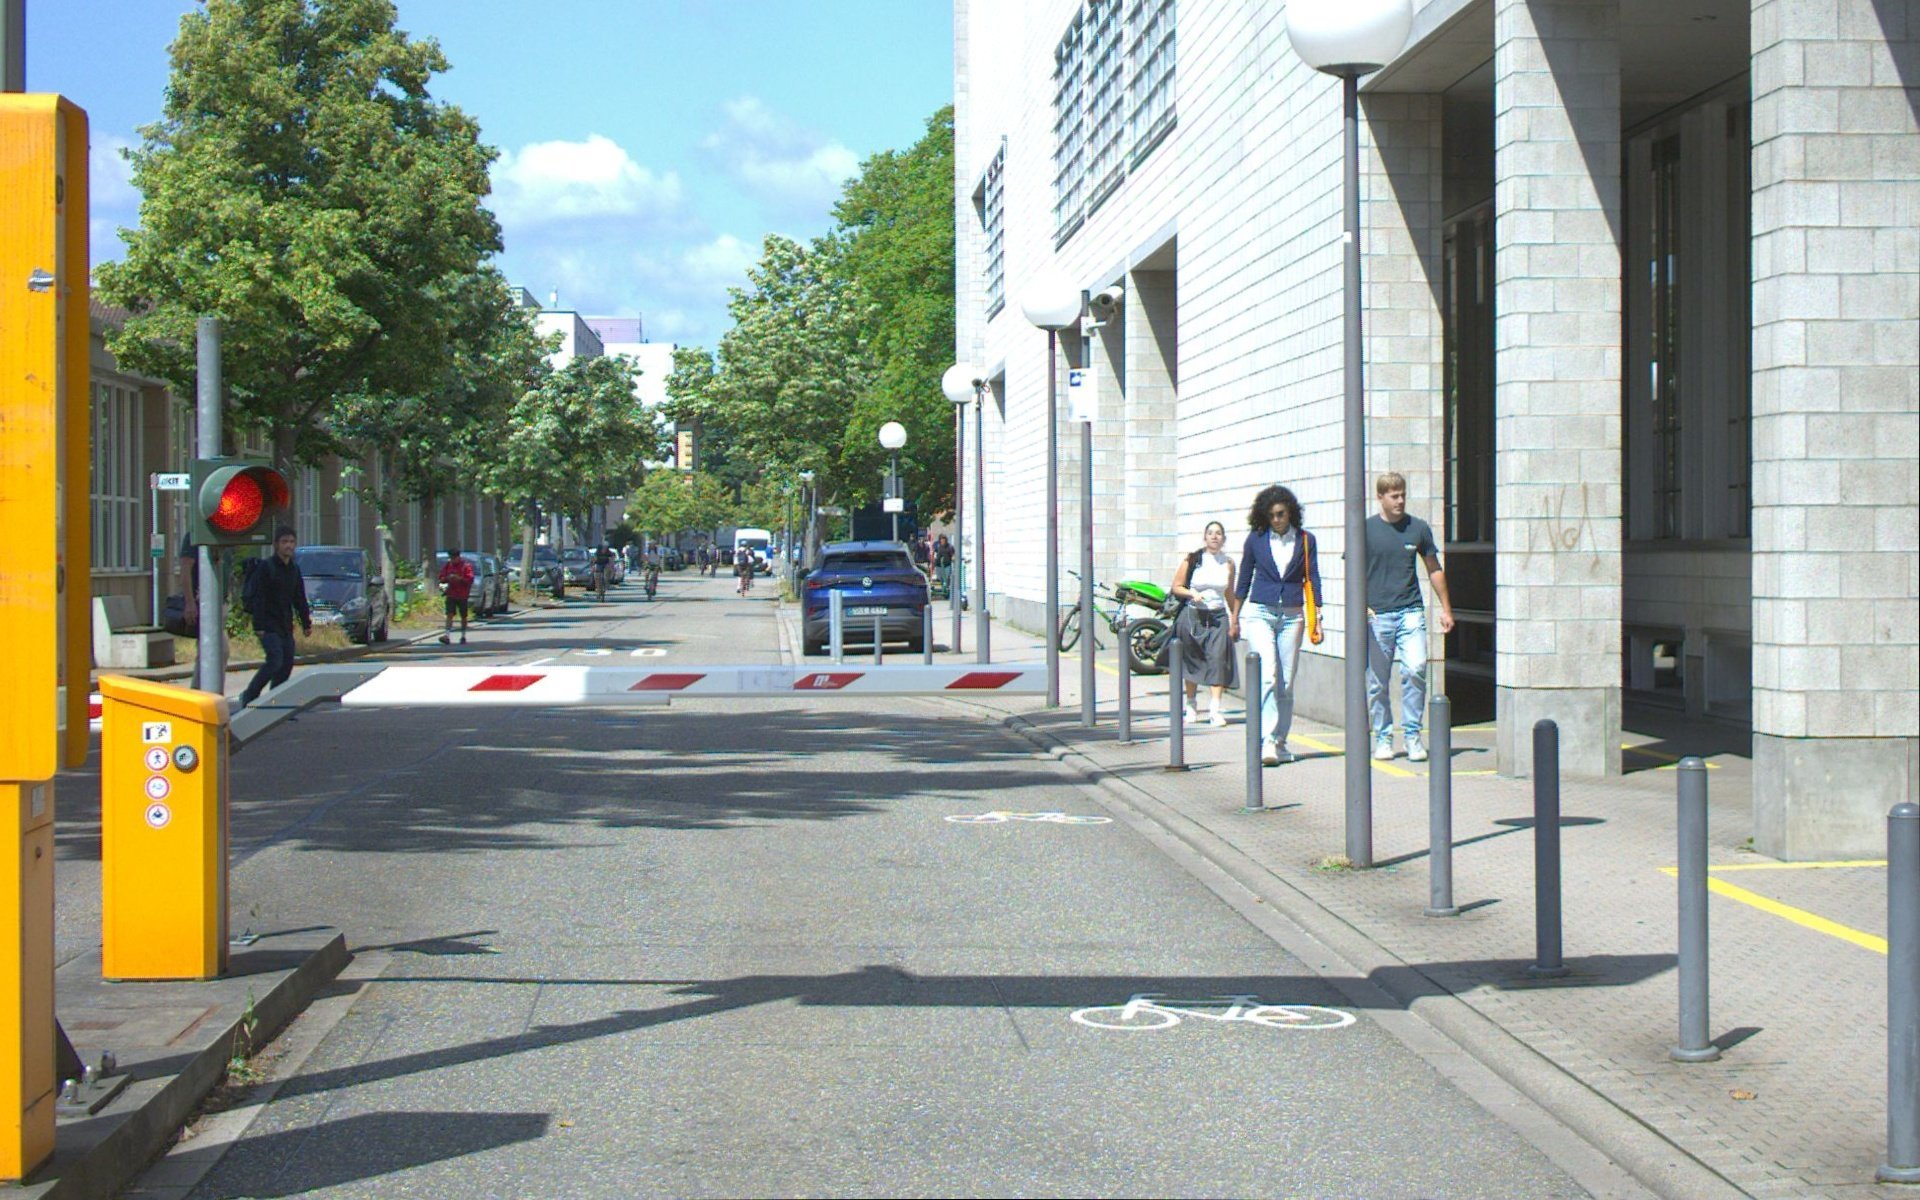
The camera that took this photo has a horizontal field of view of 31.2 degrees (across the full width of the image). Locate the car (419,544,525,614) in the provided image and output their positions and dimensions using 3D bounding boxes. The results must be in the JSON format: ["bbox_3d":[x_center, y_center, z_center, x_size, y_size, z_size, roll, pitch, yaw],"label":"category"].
[{"bbox_3d":[-11.084,-0.491,78.318,1.993,1.540,4.212,0,1,-3],"label":"car"}]

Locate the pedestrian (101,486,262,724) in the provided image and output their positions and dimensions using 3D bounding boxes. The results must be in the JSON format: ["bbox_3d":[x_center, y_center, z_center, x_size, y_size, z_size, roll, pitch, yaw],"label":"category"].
[{"bbox_3d":[-6.410,0.037,28.301,1.003,1.919,0.887,0,0,-37],"label":"pedestrian"}]

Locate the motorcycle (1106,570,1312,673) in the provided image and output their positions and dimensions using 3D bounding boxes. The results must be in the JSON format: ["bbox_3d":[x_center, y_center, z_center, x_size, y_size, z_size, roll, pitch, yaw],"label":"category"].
[{"bbox_3d":[2.672,0.237,37.024,2.122,1.019,0.660,-2,-1,-2],"label":"motorcycle"}]

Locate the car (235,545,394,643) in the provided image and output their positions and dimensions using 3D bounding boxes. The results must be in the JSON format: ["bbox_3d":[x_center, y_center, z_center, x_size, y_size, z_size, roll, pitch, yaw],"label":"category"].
[{"bbox_3d":[-10.539,-0.132,56.412,1.993,1.540,4.212,0,1,-3],"label":"car"}]

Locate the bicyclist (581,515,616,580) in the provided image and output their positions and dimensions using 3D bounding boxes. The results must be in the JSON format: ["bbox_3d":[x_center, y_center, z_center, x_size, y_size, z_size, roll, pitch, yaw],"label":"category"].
[{"bbox_3d":[-10.653,-1.553,101.360,0.987,1.877,1.036,0,-1,-8],"label":"bicyclist"}]

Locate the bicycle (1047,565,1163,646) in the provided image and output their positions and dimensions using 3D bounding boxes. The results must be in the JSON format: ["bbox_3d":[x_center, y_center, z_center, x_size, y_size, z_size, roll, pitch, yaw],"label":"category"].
[{"bbox_3d":[1.970,0.069,46.652,1.544,1.063,0.647,-1,1,5],"label":"bicycle"}]

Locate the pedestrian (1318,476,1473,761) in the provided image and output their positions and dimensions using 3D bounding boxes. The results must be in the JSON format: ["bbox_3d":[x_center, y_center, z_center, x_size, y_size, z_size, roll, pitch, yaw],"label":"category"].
[{"bbox_3d":[2.792,0.104,22.107,0.767,1.774,0.911,-2,1,-5],"label":"pedestrian"}]

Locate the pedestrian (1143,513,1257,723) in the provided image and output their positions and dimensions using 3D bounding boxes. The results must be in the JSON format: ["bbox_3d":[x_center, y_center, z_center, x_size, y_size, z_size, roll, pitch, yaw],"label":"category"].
[{"bbox_3d":[1.911,0.131,27.489,0.741,1.627,0.888,-2,1,-5],"label":"pedestrian"}]

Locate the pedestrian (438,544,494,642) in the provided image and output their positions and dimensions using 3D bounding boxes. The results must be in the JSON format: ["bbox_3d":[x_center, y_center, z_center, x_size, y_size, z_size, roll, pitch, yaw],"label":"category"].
[{"bbox_3d":[-8.243,-0.119,57.378,0.893,1.627,0.888,0,0,-7],"label":"pedestrian"}]

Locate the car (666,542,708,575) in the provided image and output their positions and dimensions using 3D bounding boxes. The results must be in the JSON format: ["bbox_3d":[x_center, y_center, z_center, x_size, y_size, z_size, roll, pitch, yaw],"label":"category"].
[{"bbox_3d":[-15.064,-2.267,189.757,1.993,1.714,4.000,-1,-1,-1],"label":"car"}]

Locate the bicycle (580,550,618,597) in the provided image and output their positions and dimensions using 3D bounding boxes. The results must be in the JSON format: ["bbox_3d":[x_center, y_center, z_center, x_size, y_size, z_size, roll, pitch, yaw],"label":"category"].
[{"bbox_3d":[-10.667,-0.782,101.510,0.987,1.311,2.964,0,-1,-8],"label":"bicycle"}]

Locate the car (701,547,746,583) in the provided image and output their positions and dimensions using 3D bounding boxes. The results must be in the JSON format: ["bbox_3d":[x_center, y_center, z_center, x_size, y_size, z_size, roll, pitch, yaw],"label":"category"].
[{"bbox_3d":[-11.834,-1.752,172.206,1.993,1.714,4.000,-1,-1,-1],"label":"car"}]

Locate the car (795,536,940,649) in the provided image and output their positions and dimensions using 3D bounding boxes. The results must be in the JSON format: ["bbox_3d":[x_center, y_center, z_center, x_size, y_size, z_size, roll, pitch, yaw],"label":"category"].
[{"bbox_3d":[-1.380,-0.141,49.451,1.993,1.540,4.212,0,1,-3],"label":"car"}]

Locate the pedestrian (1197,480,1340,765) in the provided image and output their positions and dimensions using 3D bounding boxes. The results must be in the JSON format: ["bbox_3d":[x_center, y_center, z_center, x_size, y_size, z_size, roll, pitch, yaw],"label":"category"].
[{"bbox_3d":[1.975,0.127,22.138,0.694,1.774,1.086,-2,1,-5],"label":"pedestrian"}]

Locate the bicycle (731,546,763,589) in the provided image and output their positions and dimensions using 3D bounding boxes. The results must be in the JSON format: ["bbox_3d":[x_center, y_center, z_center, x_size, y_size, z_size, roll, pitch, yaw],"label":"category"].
[{"bbox_3d":[-6.760,-1.021,108.972,0.987,1.311,2.964,0,-1,-4],"label":"bicycle"}]

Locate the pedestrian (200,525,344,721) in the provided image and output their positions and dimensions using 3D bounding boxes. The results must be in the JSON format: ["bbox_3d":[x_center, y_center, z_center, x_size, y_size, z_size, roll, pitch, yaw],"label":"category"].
[{"bbox_3d":[-5.846,0.190,29.206,0.894,1.627,0.887,0,0,-37],"label":"pedestrian"}]

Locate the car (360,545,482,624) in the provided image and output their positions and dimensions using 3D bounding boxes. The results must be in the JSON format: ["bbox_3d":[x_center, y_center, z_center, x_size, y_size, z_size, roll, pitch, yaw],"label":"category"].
[{"bbox_3d":[-10.871,-0.342,69.528,1.993,1.540,4.212,0,1,-3],"label":"car"}]

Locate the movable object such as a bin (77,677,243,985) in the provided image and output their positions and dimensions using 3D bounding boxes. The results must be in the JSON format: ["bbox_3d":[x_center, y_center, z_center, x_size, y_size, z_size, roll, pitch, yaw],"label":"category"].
[{"bbox_3d":[-2.420,0.692,10.421,0.416,0.902,0.353,0,1,1],"label":"movable object such as a bin"}]

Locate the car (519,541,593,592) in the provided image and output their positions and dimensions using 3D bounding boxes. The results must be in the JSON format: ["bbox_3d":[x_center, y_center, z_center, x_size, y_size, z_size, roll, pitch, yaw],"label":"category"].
[{"bbox_3d":[-12.480,-1.040,106.422,1.993,1.540,4.212,0,1,-3],"label":"car"}]

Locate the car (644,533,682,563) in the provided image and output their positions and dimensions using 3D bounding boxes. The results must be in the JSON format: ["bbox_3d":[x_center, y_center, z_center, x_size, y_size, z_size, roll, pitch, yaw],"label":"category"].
[{"bbox_3d":[-18.207,-3.190,210.782,1.993,1.714,4.000,-1,-1,-1],"label":"car"}]

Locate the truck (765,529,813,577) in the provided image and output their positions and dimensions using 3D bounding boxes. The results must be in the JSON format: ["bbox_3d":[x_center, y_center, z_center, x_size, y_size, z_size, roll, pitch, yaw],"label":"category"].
[{"bbox_3d":[-7.689,-2.099,154.227,1.993,2.007,4.000,0,-1,-5],"label":"truck"}]

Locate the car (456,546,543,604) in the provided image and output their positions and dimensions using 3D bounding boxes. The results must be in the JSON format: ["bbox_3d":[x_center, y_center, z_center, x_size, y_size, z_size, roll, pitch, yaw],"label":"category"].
[{"bbox_3d":[-12.573,-0.705,94.008,1.993,1.540,4.212,0,1,-3],"label":"car"}]

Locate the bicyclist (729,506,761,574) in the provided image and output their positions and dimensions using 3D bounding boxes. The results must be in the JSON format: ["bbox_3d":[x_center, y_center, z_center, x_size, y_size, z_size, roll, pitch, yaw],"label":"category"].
[{"bbox_3d":[-6.837,-1.913,109.280,0.987,2.125,1.036,0,-1,-4],"label":"bicyclist"}]
